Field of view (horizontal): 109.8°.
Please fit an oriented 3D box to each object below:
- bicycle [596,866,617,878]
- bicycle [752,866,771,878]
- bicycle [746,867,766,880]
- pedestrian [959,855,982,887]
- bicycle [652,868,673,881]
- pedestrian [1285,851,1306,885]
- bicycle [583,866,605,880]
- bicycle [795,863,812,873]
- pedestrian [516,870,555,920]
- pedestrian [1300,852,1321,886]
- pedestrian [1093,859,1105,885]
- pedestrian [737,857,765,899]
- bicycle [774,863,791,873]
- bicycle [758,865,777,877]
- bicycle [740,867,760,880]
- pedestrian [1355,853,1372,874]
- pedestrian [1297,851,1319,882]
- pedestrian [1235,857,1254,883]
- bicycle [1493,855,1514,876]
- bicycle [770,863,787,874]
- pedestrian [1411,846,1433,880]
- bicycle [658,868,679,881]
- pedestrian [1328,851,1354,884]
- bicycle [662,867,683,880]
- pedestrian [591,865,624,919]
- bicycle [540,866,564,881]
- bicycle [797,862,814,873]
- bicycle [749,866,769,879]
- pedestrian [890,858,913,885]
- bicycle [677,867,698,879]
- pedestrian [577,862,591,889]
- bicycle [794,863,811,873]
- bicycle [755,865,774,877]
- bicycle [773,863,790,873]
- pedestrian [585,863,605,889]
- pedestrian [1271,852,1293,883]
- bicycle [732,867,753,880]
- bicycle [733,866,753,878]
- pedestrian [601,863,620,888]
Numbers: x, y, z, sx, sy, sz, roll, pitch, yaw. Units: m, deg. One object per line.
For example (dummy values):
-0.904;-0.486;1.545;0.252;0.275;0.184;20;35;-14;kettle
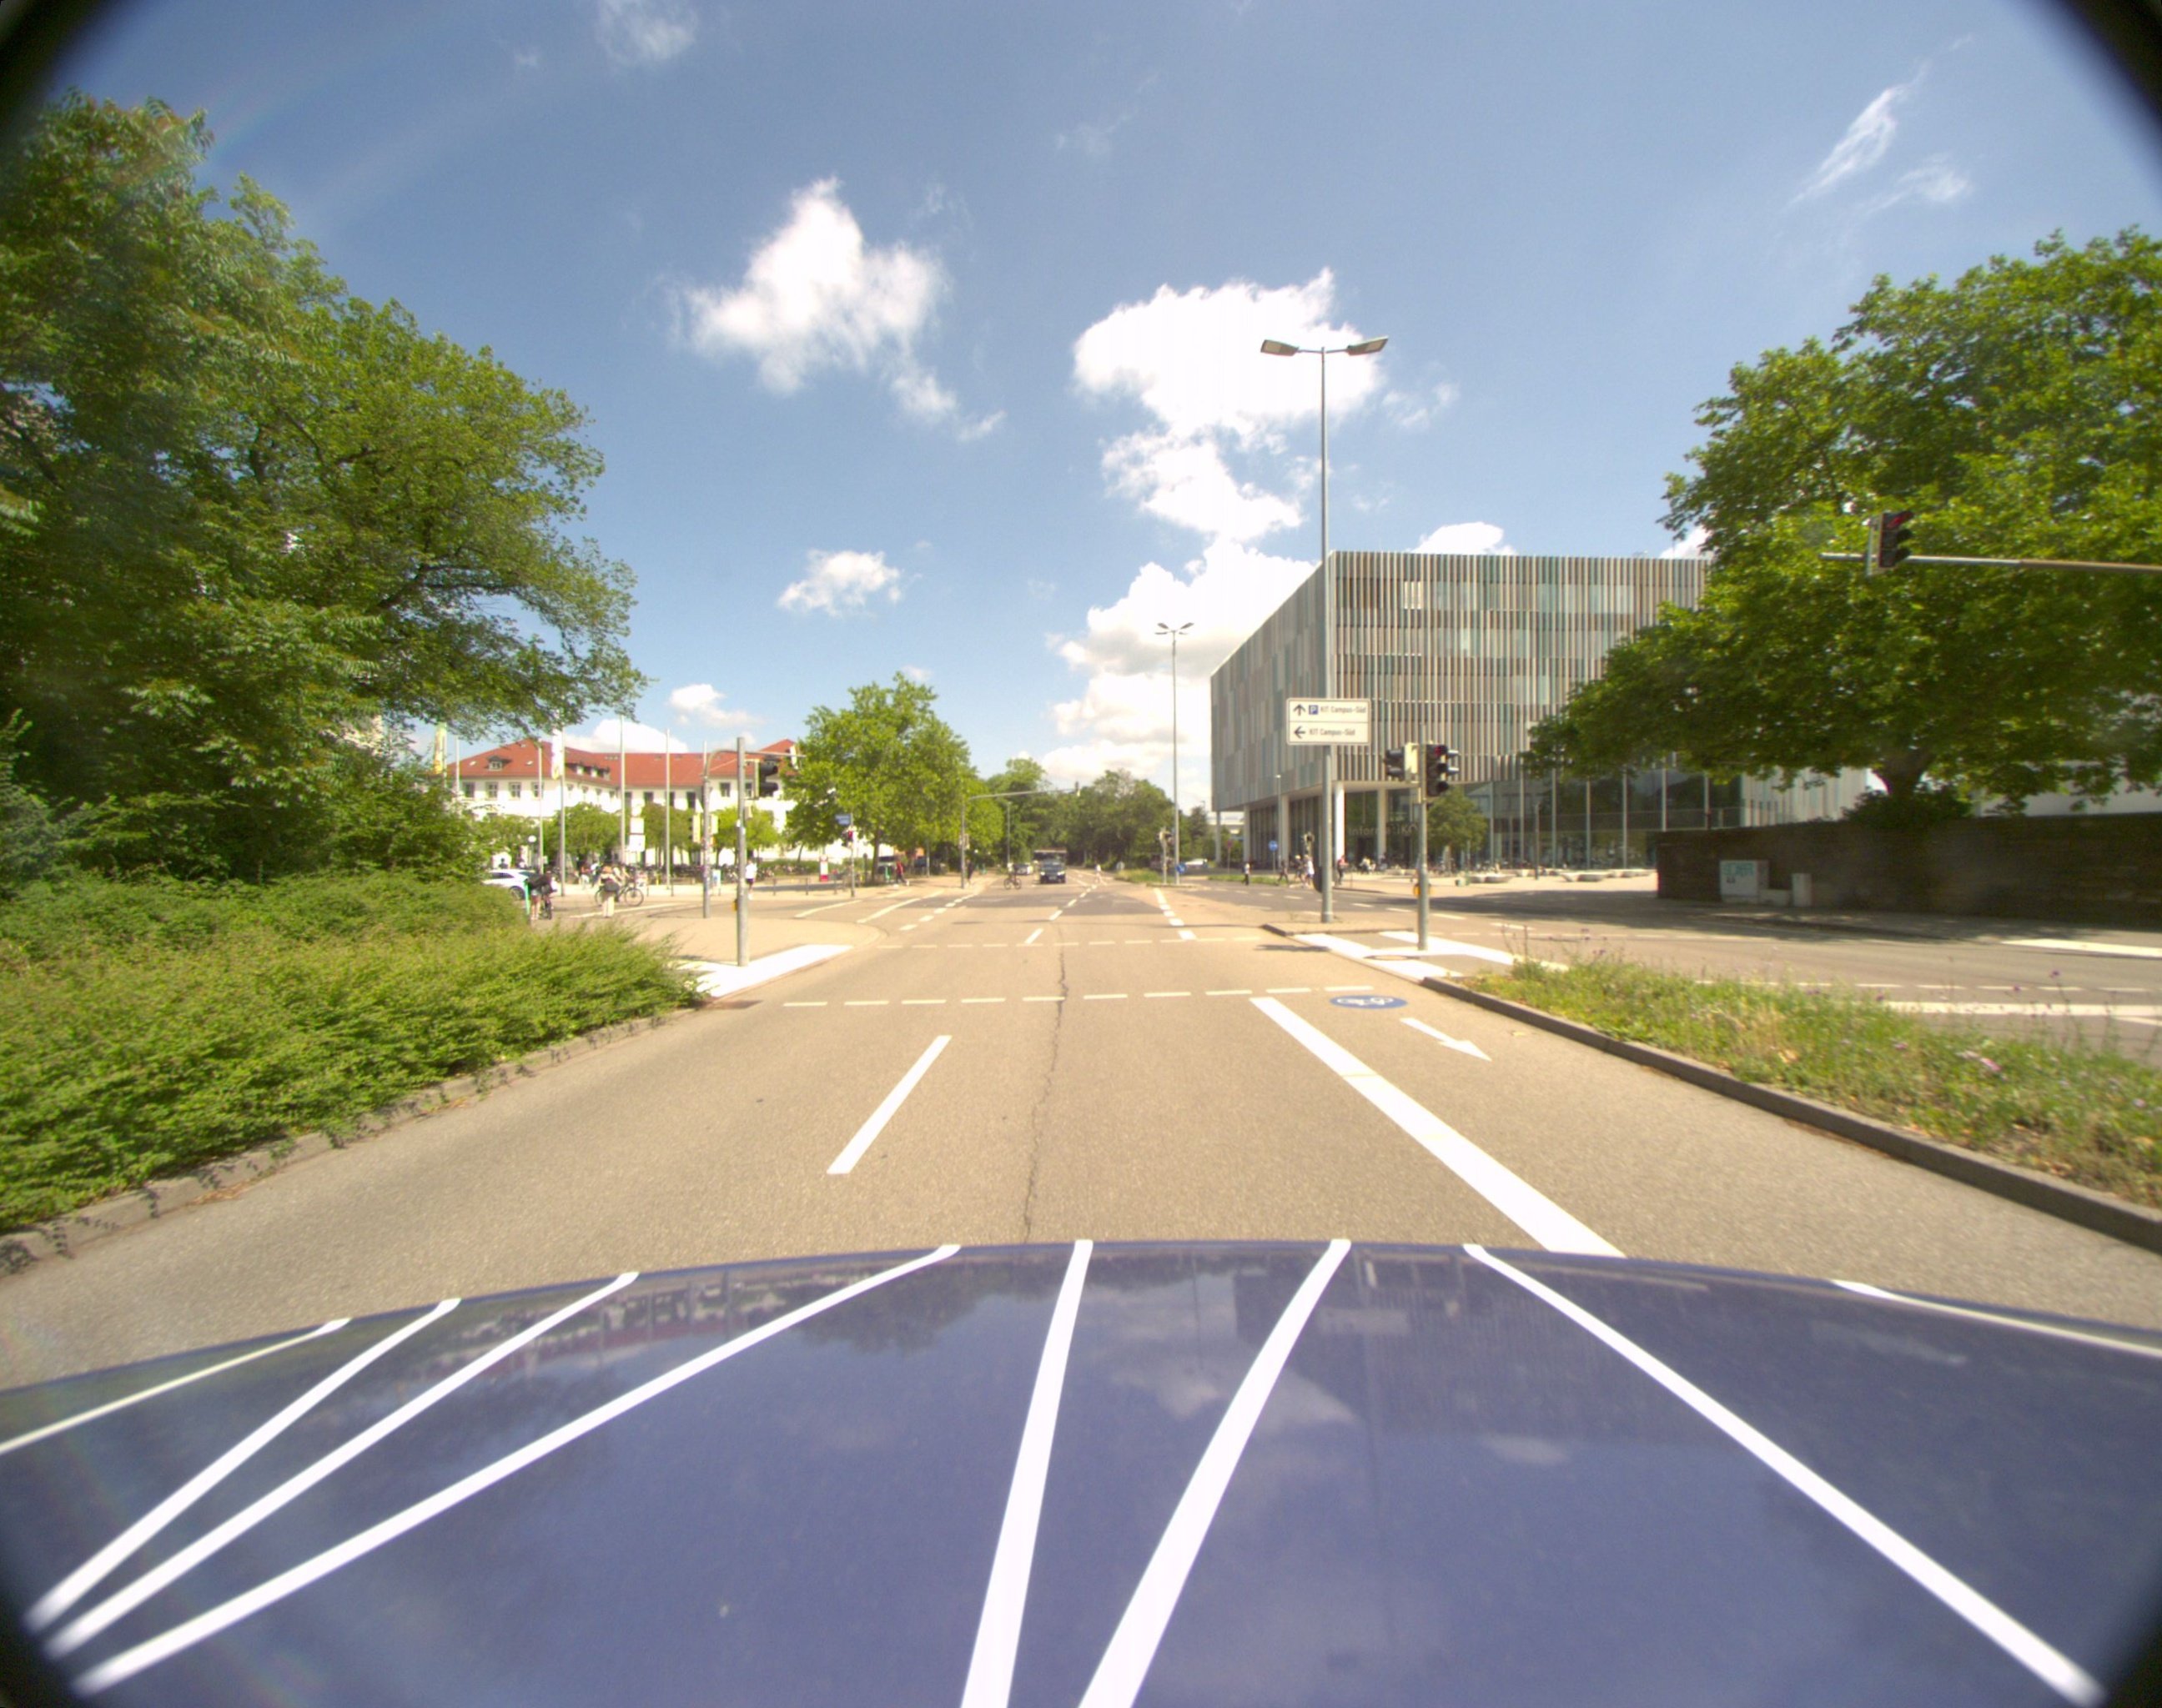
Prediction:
-36.331;1.391;58.157;1.370;0.945;0.352;-1;0;3;bicycle
-25.394;1.417;60.374;1.371;0.945;0.352;-1;0;-7;bicycle
-24.775;1.490;57.886;1.371;0.945;0.352;-1;0;-7;bicycle
-6.755;1.045;46.648;1.030;1.914;0.973;-1;1;20;pedestrian
-30.381;1.507;55.190;1.370;0.945;0.352;-1;0;3;bicycle
12.358;0.793;43.869;1.107;1.914;0.973;-1;1;14;pedestrian
-35.663;1.388;55.626;1.370;0.945;0.352;-1;0;3;bicycle
-25.889;1.284;70.863;1.429;0.945;0.352;-1;0;-7;bicycle
-15.908;1.189;22.146;0.786;1.408;0.657;0;-2;35;pedestrian
12.848;0.837;42.514;1.107;1.914;0.973;-1;1;17;pedestrian
1.041;1.022;43.835;0.591;1.495;0.416;-1;1;-19;pedestrian
-15.198;1.099;34.970;0.878;1.861;0.971;-1;1;-5;pedestrian
-27.866;1.300;70.974;1.429;0.945;0.352;-1;0;-7;bicycle
-25.385;1.388;61.534;1.371;0.945;0.352;-1;0;-7;bicycle
-24.915;1.467;57.176;1.371;0.945;0.352;-1;0;-7;bicycle
23.425;0.753;63.037;1.013;1.697;1.211;-1;0;6;pedestrian
14.497;0.793;48.557;0.880;1.914;0.970;-1;1;-21;pedestrian
10.314;0.987;47.950;0.879;1.619;0.971;-1;1;-9;pedestrian
31.516;0.826;56.651;0.997;1.543;3.422;0;0;36;bicycle
-27.854;1.313;69.895;1.429;0.945;0.352;-1;0;-7;bicycle
19.809;0.517;44.146;1.107;1.914;0.973;-1;1;19;pedestrian
-30.206;1.500;55.629;1.370;0.945;0.352;-1;0;3;bicycle
15.344;0.760;44.918;1.109;1.914;0.971;-1;1;-11;pedestrian
-30.188;1.462;56.190;1.370;0.945;0.352;-1;0;3;bicycle
-14.739;1.169;23.669;0.633;1.617;0.647;0;1;35;pedestrian
-38.109;1.374;54.696;1.372;1.068;0.352;-1;0;-12;bicycle
-25.897;1.277;71.442;1.429;0.945;0.352;-1;0;-7;bicycle
-25.315;1.442;59.726;1.371;0.945;0.352;-1;1;-7;bicycle
-10.491;1.011;44.402;1.065;1.588;0.970;-1;1;-25;pedestrian
-30.867;1.463;59.610;1.372;0.945;0.352;-1;0;-9;bicycle
-29.898;1.272;45.714;0.434;1.581;0.540;0;0;36;pedestrian
-25.801;1.290;70.354;1.429;0.945;0.352;-1;0;-7;bicycle
-25.430;1.395;61.032;1.371;0.945;0.352;-1;0;-7;bicycle
-27.805;1.304;70.564;1.429;0.945;0.352;-1;0;-7;bicycle
-30.315;1.378;47.407;0.833;1.613;0.686;0;1;25;pedestrian
12.623;0.814;47.749;0.880;1.914;0.970;-1;1;-19;pedestrian
-25.207;1.445;56.556;1.371;0.945;0.352;-1;0;-7;bicycle
-27.116;1.411;61.004;1.412;0.945;0.352;-1;0;-7;bicycle
-29.982;1.362;48.412;0.833;1.613;0.686;0;1;23;pedestrian
